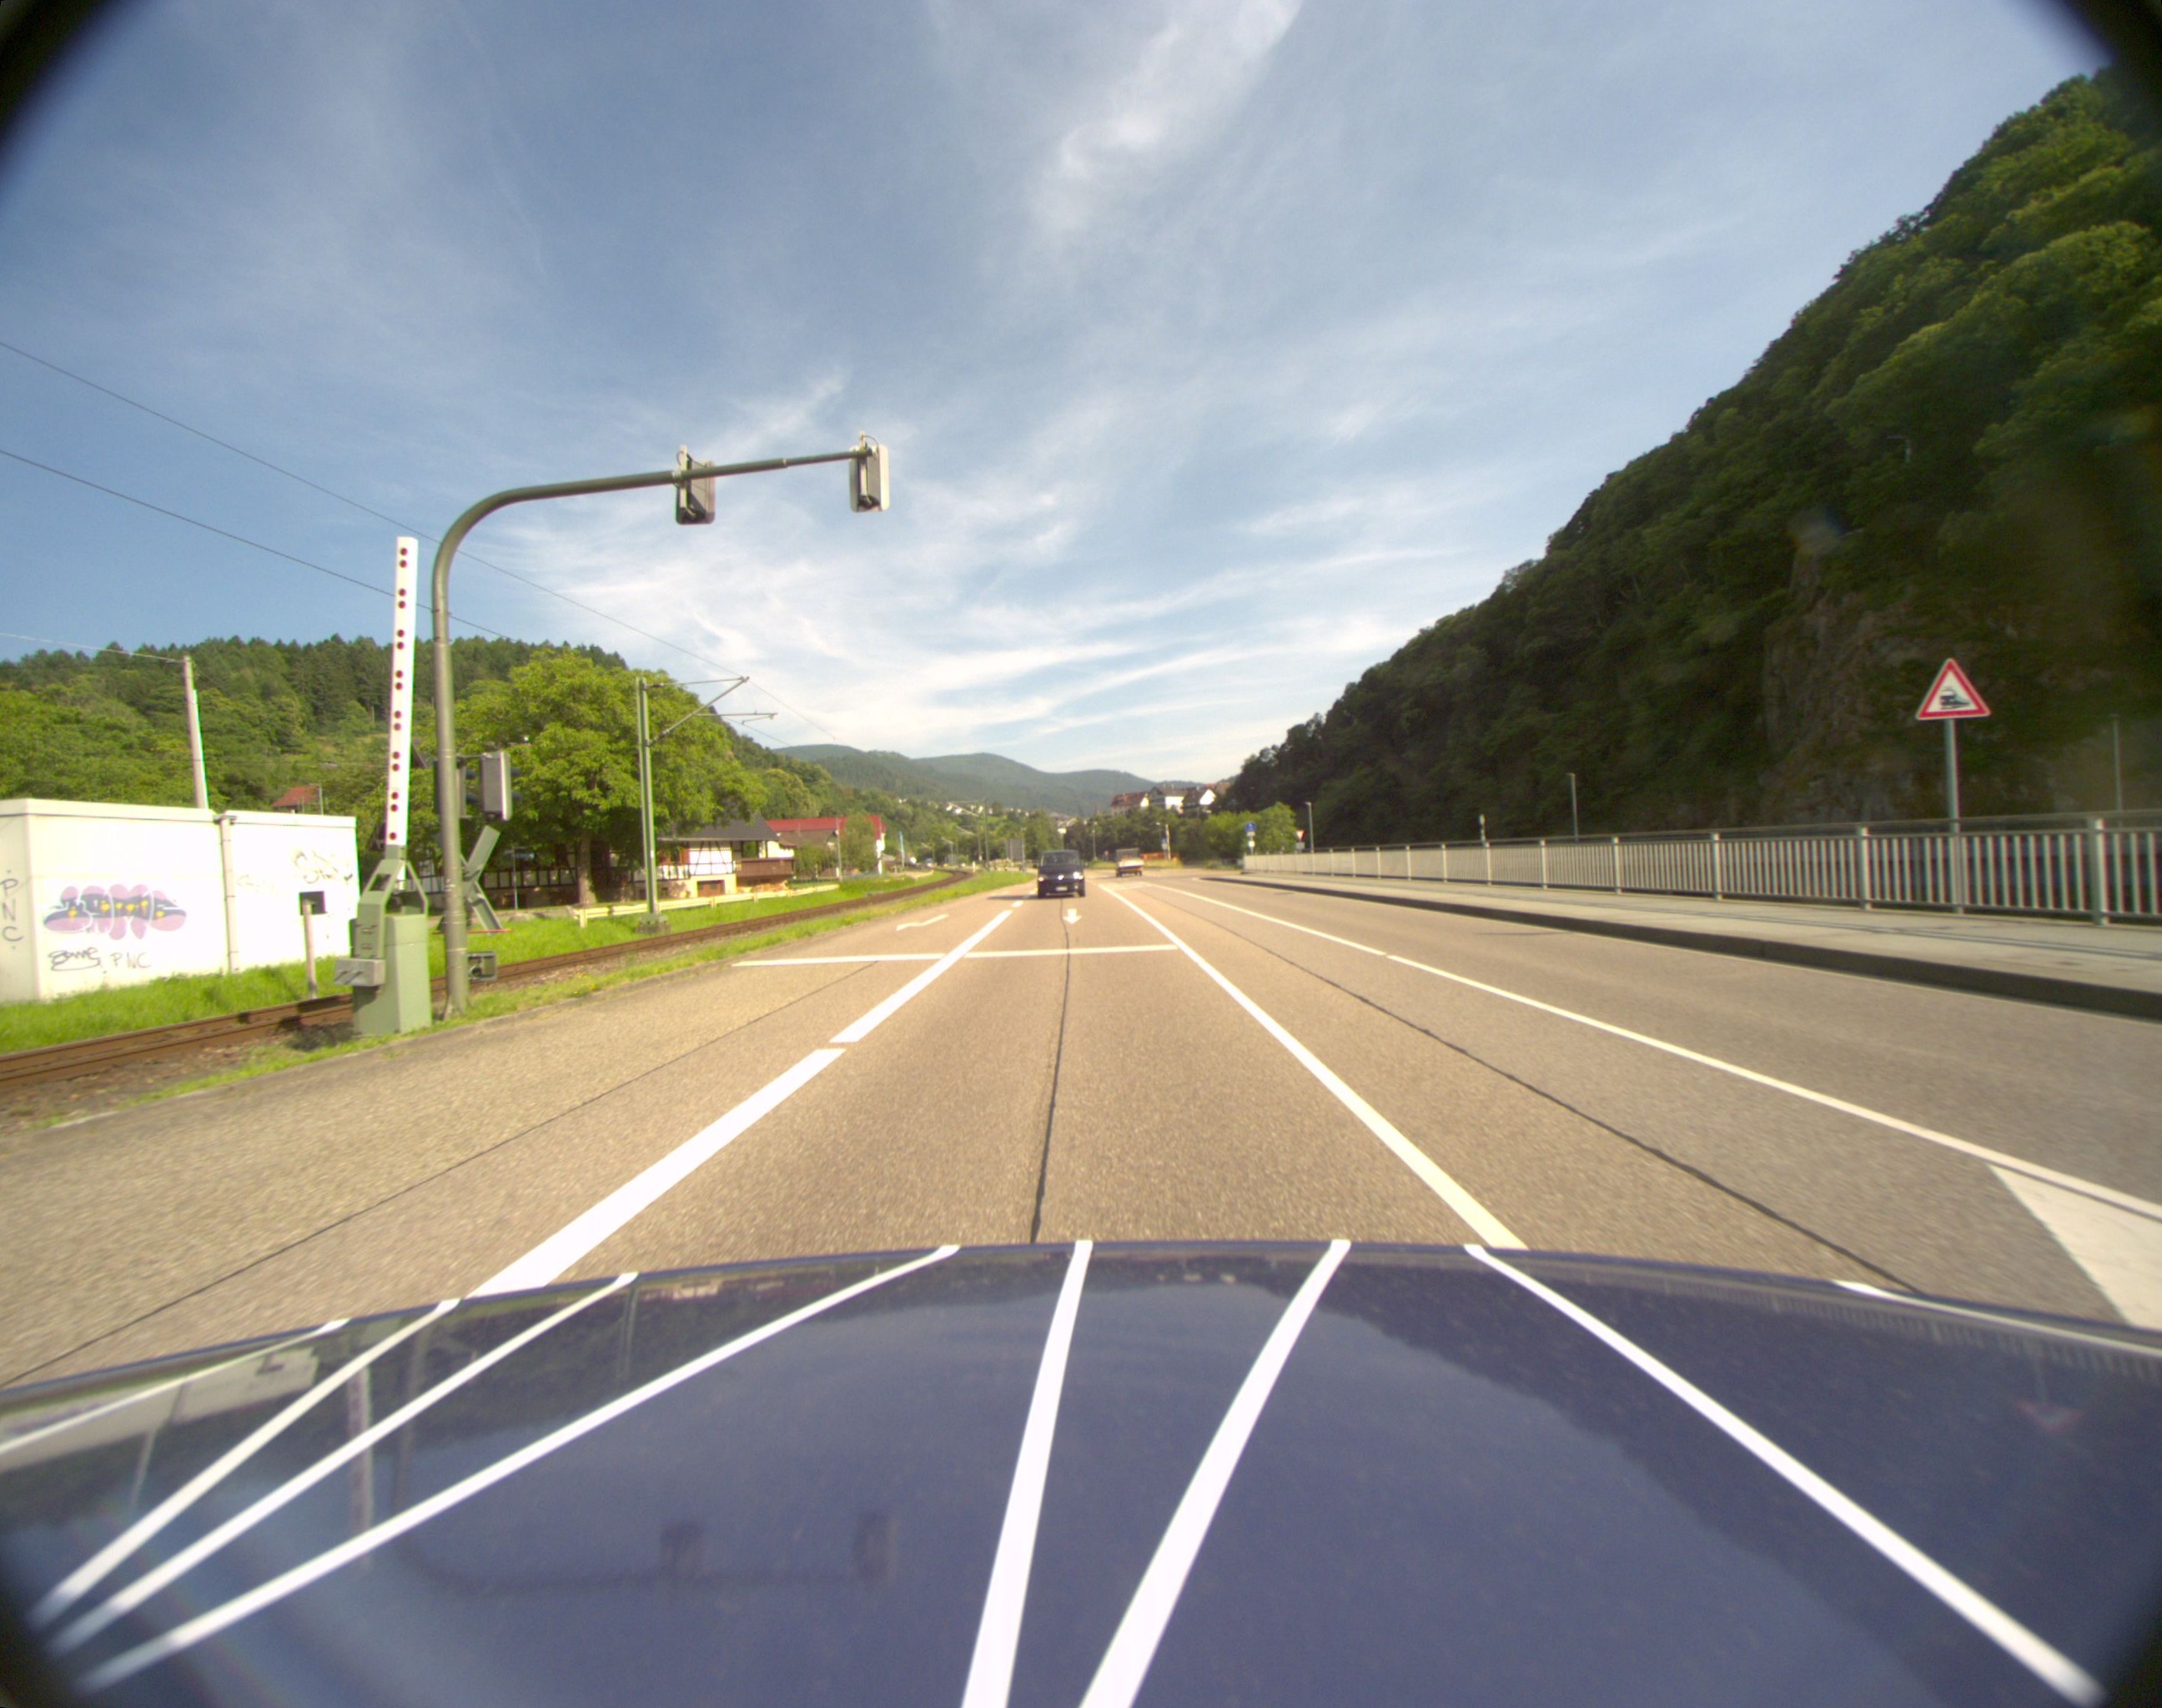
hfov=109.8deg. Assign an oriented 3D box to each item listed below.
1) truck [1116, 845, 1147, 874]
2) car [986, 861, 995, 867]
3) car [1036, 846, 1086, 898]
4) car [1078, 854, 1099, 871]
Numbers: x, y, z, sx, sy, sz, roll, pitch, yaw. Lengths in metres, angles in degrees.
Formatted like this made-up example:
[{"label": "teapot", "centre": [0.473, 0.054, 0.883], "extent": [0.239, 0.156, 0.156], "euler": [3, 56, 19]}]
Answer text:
[{"label": "truck", "centre": [4.463, 0.500, 67.983], "extent": [2.170, 2.373, 5.853], "euler": [-4, 0, -2]}, {"label": "car", "centre": [-27.692, 3.030, 232.372], "extent": [2.001, 1.652, 3.994], "euler": [-4, 0, -20]}, {"label": "car", "centre": [-0.830, 0.713, 31.862], "extent": [1.865, 1.936, 4.637], "euler": [-2, 0, -2]}, {"label": "car", "centre": [0.921, 1.111, 95.316], "extent": [2.000, 2.002, 3.997], "euler": [-3, 0, -9]}]
